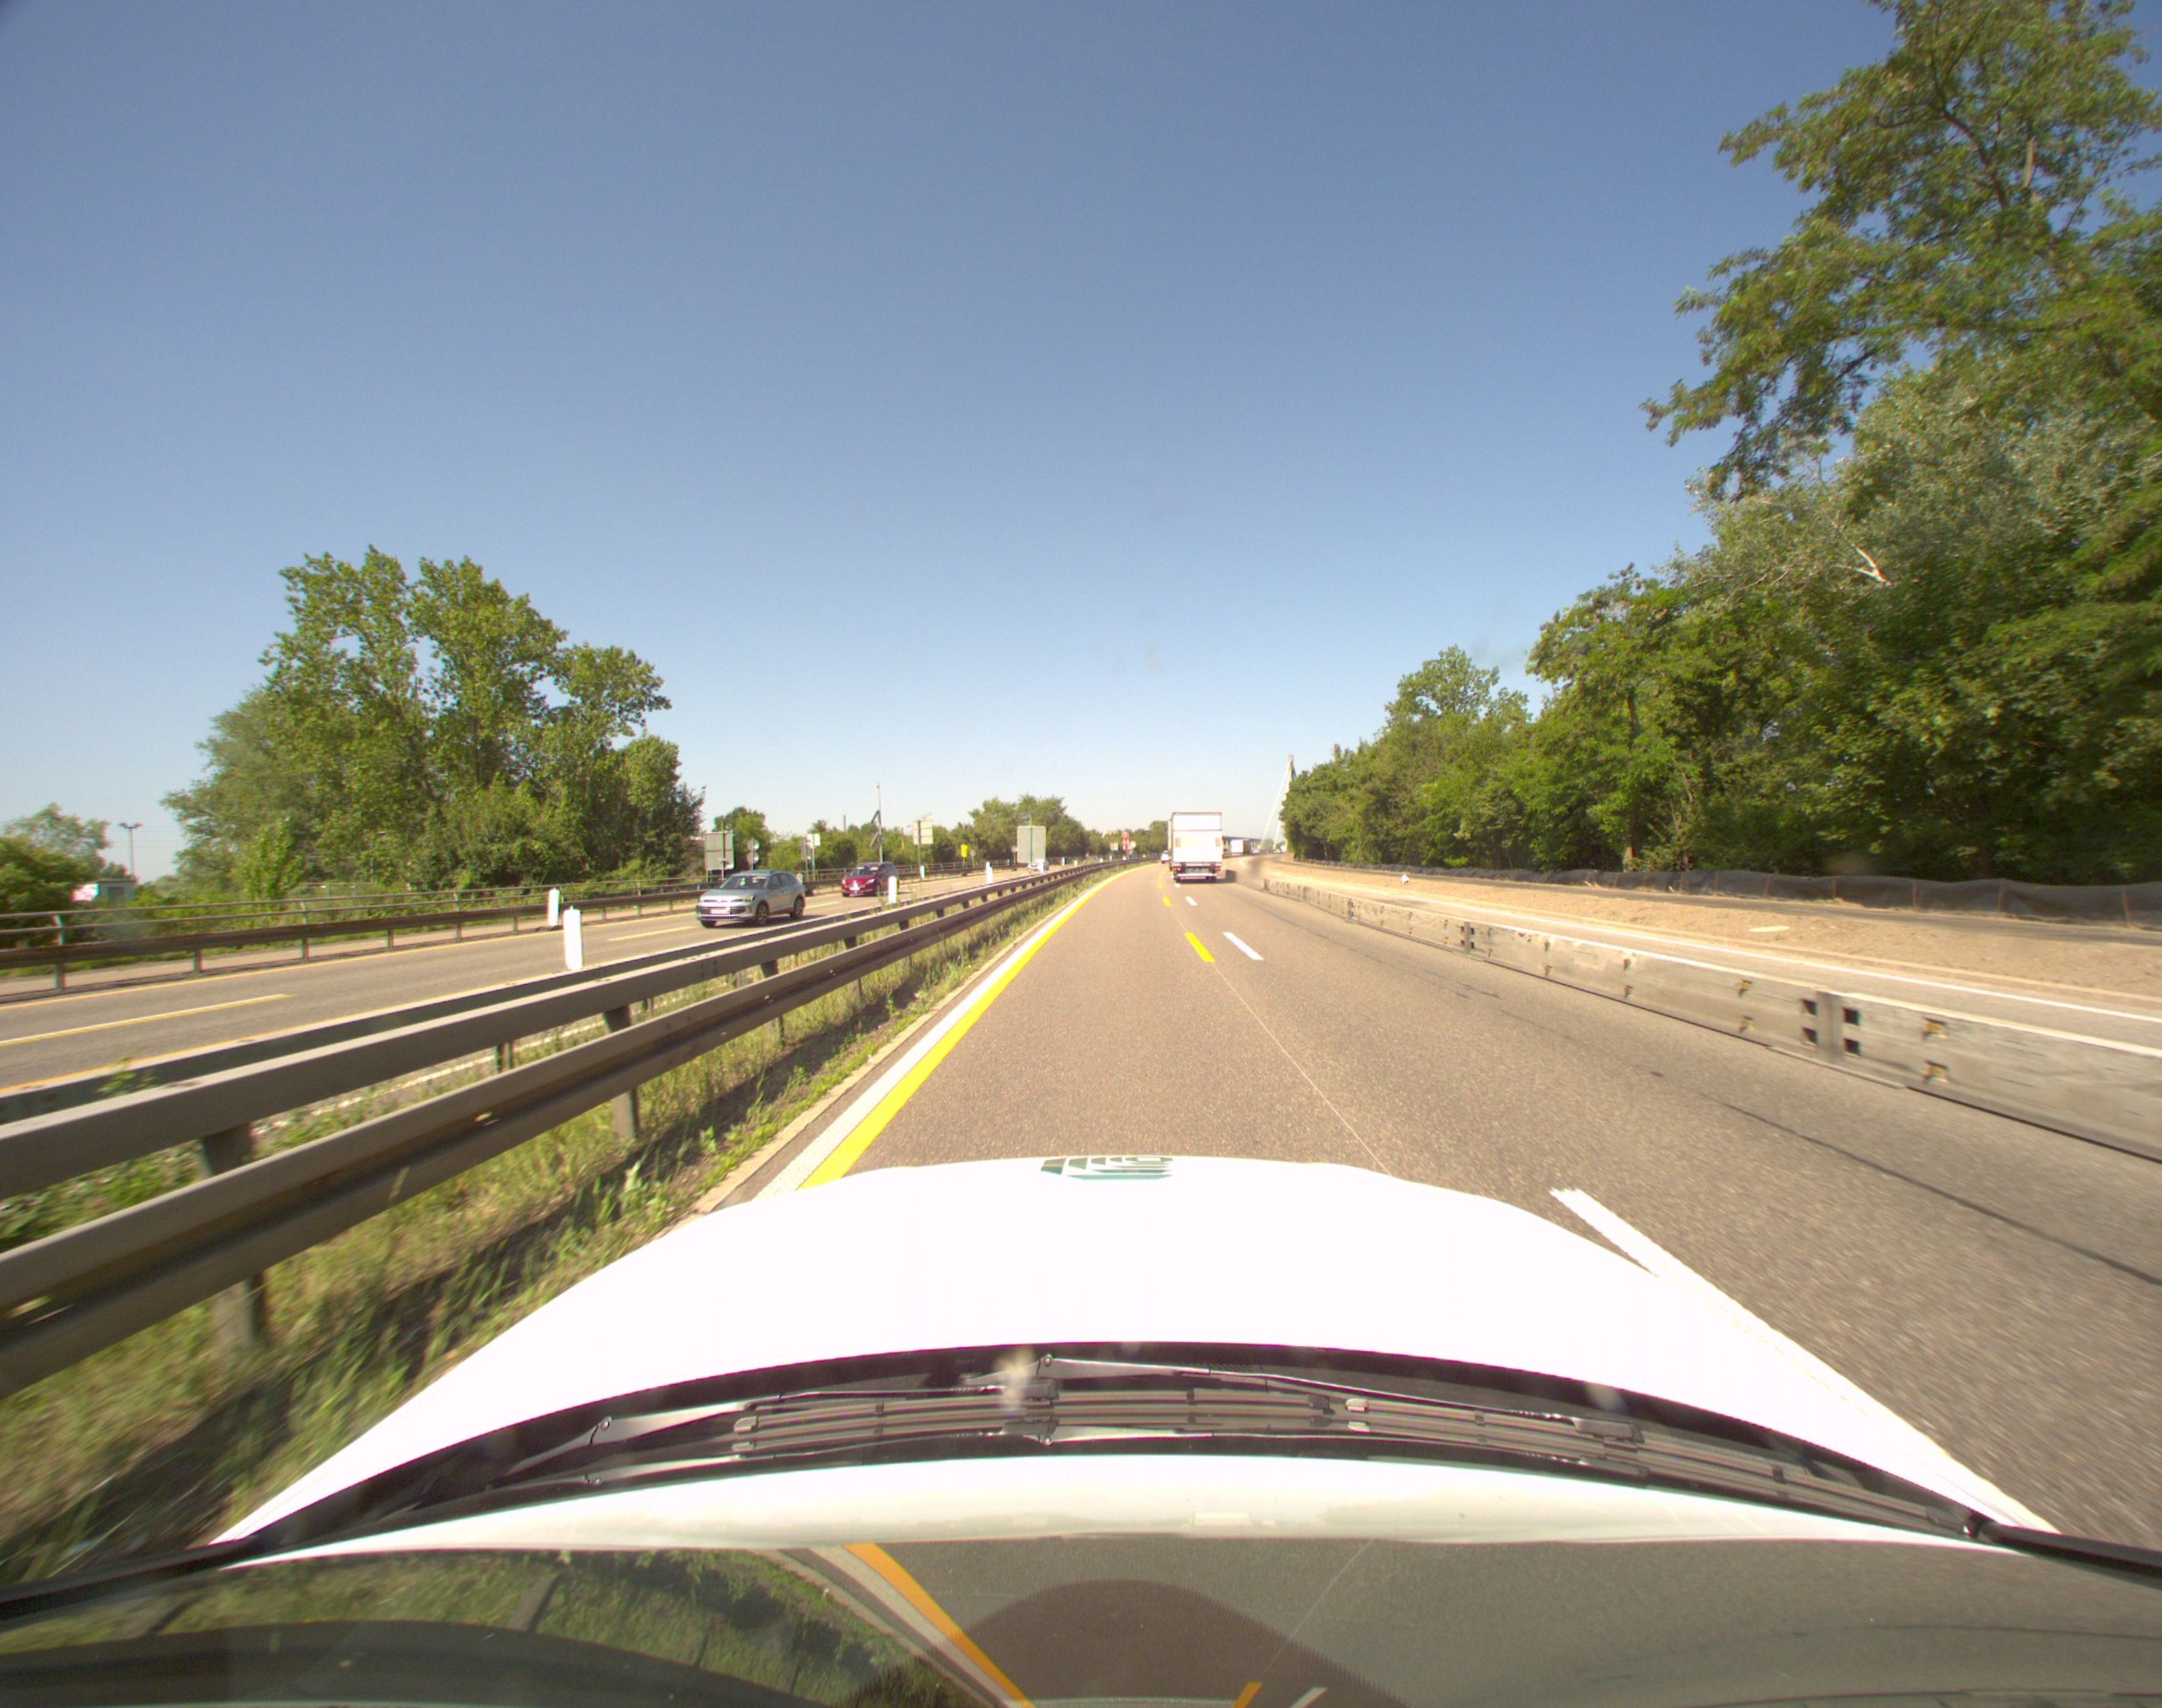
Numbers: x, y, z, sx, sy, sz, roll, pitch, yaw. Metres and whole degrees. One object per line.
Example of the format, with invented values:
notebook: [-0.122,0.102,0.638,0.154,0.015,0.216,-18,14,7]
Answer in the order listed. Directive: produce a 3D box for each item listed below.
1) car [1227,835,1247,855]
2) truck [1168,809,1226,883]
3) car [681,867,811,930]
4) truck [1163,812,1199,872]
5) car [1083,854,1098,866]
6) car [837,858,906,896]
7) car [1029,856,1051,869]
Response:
car: [37.772,-2.222,197.234,4.178,4.251,10.700,-4,0,13]
truck: [5.845,-0.386,41.441,2.620,3.427,7.247,0,0,7]
car: [-10.404,1.329,25.721,1.900,1.651,4.383,-3,0,5]
truck: [7.781,-0.885,64.096,2.621,4.468,7.245,0,0,6]
car: [1.360,0.845,114.180,1.729,1.498,4.007,-2,0,6]
car: [-10.983,1.164,43.083,1.900,1.734,5.027,-3,0,5]
car: [-4.837,0.944,97.155,1.875,1.420,4.867,-2,0,5]
